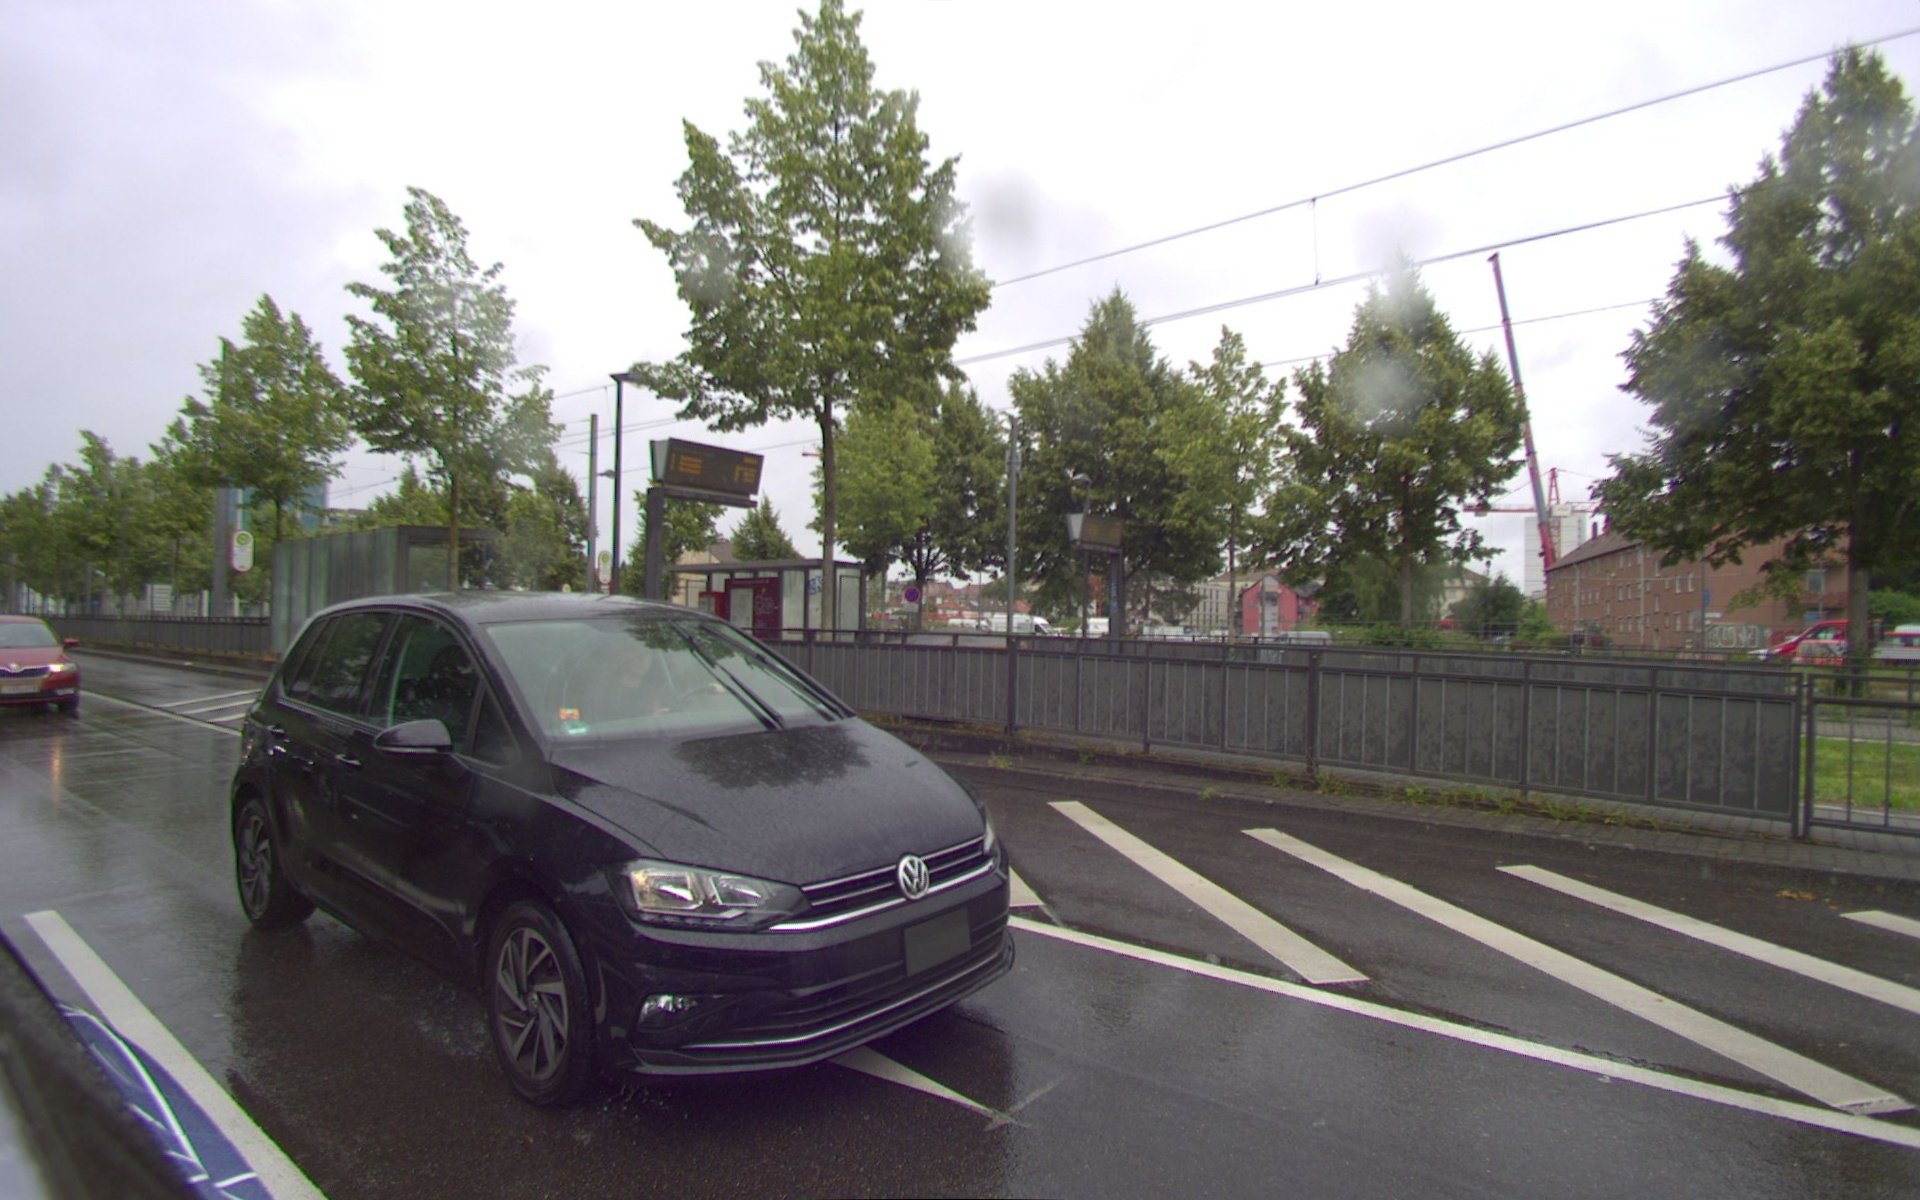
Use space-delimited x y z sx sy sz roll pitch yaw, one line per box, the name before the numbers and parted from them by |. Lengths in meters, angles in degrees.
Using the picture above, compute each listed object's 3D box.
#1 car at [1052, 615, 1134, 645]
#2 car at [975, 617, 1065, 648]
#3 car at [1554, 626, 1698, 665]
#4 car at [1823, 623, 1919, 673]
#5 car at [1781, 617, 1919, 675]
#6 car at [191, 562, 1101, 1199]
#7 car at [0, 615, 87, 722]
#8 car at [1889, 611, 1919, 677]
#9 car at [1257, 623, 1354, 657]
car | 11.657 2.597 89.204 6.826 2.495 2.470 -1 0 38
car | 5.053 2.683 86.142 7.627 2.495 2.327 -1 0 38
car | 36.964 2.501 56.453 6.393 2.029 2.336 -1 0 26
car | 40.089 1.996 41.762 2.319 2.029 6.440 2 -3 -38
car | 34.820 1.682 37.538 2.319 2.029 6.441 -1 0 -38
car | -1.702 0.692 4.378 4.330 1.529 1.765 -1 0 41
car | -15.046 0.990 15.650 4.313 1.470 1.765 -1 0 41
car | 46.108 2.000 45.230 2.319 2.961 6.441 -1 0 -38
car | 26.585 3.061 77.961 6.804 2.495 2.335 0 -2 28
